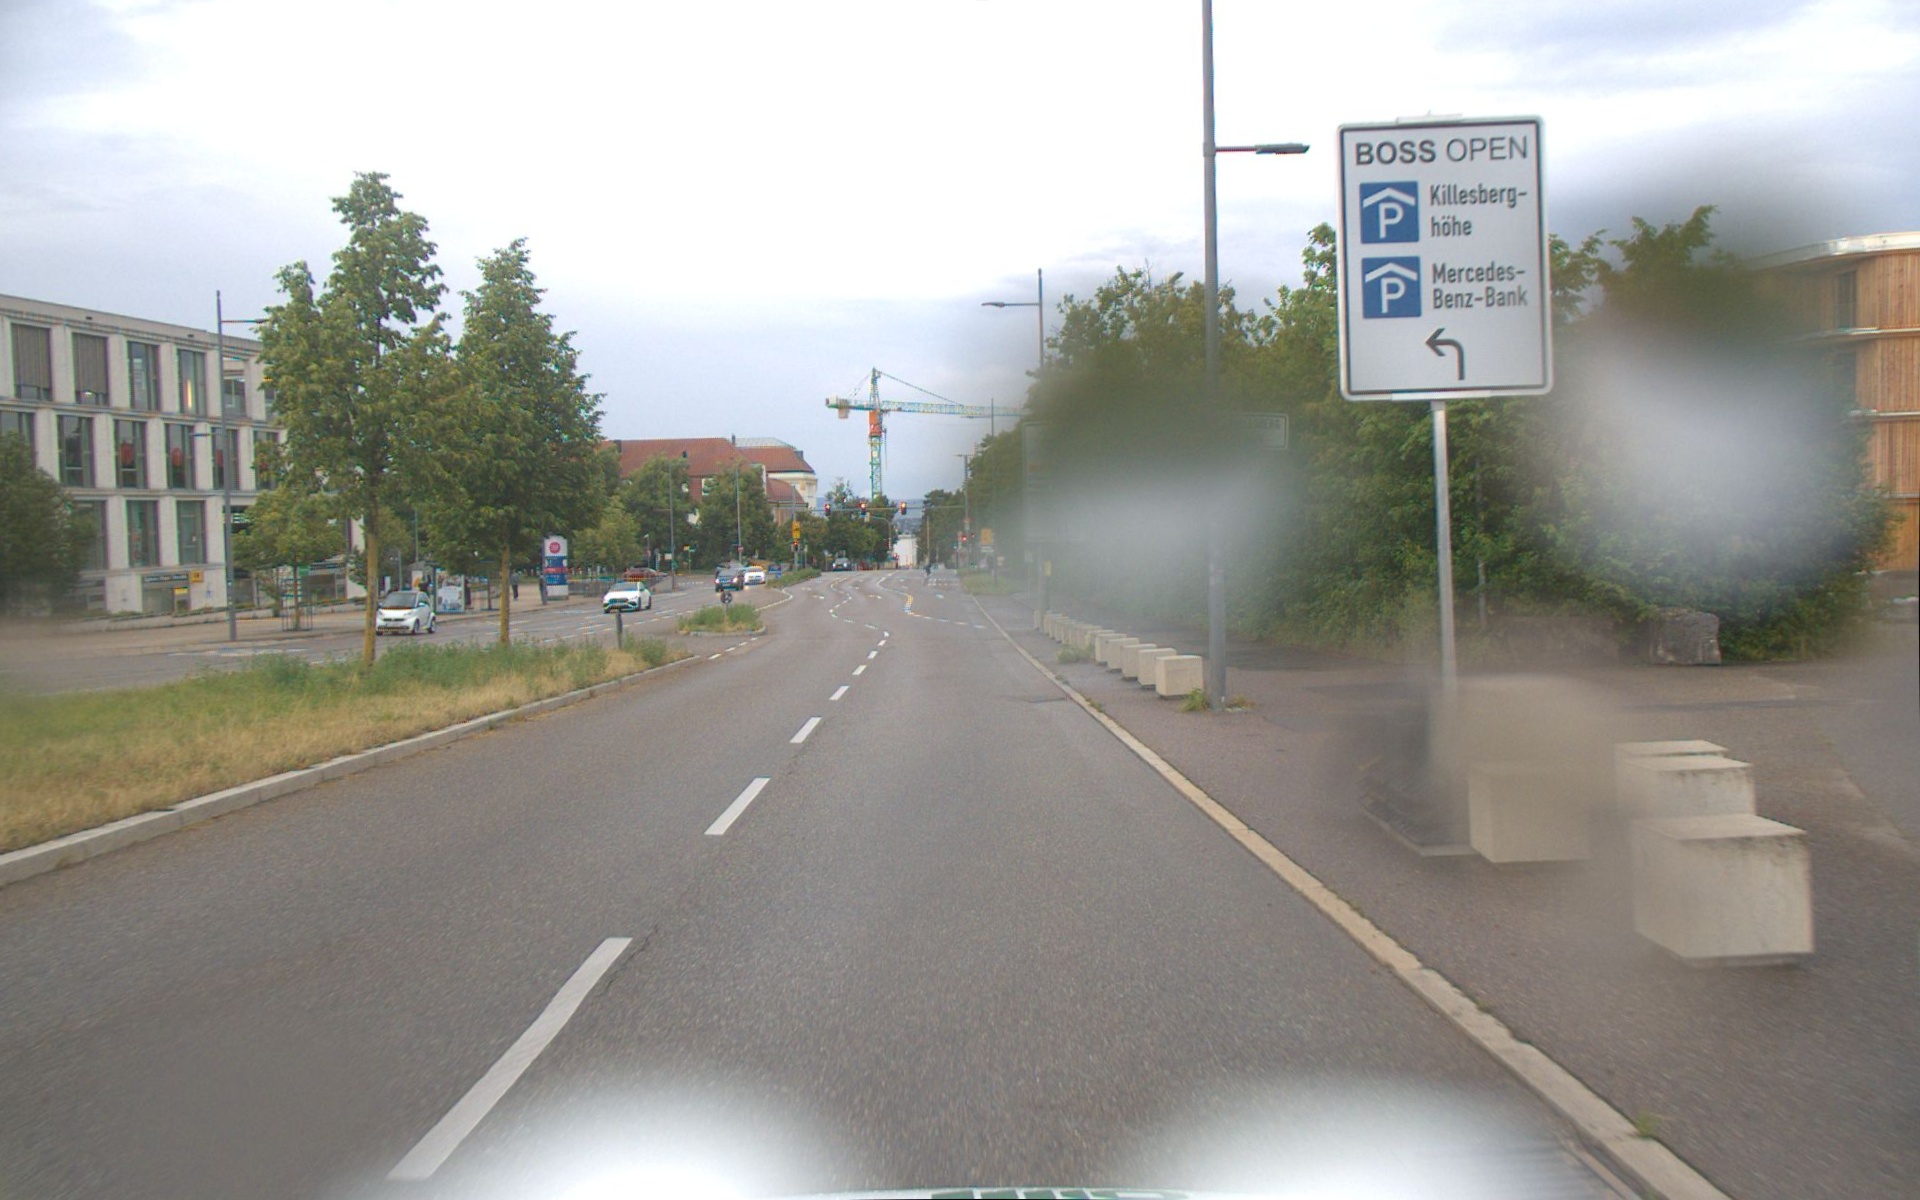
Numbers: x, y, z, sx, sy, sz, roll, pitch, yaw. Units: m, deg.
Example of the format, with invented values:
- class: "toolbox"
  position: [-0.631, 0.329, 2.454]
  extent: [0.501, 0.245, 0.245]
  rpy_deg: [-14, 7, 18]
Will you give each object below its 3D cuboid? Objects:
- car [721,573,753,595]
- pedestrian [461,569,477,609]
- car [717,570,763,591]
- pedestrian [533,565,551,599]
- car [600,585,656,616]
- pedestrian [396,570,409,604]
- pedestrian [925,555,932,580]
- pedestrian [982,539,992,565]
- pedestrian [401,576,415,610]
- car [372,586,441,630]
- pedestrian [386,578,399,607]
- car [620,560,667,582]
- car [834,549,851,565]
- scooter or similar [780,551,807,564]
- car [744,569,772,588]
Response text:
- class: "car"
  position: [-15.928, -1.145, 118.266]
  extent: [1.809, 1.487, 3.867]
  rpy_deg: [-3, 1, -1]
- class: "pedestrian"
  position: [-23.493, -0.514, 79.205]
  extent: [0.497, 1.874, 0.755]
  rpy_deg: [-1, 1, -2]
- class: "car"
  position: [-20.321, -1.766, 152.660]
  extent: [3.920, 1.911, 1.992]
  rpy_deg: [0, 0, 36]
- class: "pedestrian"
  position: [-23.428, -1.006, 92.752]
  extent: [0.737, 1.874, 0.747]
  rpy_deg: [-1, 1, 1]
- class: "car"
  position: [-16.768, 0.024, 83.664]
  extent: [1.953, 1.443, 4.512]
  rpy_deg: [-1, 1, -1]
- class: "pedestrian"
  position: [-29.278, -0.706, 86.807]
  extent: [0.417, 1.755, 0.621]
  rpy_deg: [-1, 1, -1]
- class: "pedestrian"
  position: [-2.693, -2.739, 140.116]
  extent: [0.392, 2.048, 0.514]
  rpy_deg: [-4, 2, 5]
- class: "pedestrian"
  position: [2.051, -3.710, 127.274]
  extent: [0.628, 1.933, 0.717]
  rpy_deg: [-2, 2, -6]
- class: "pedestrian"
  position: [-28.356, -0.356, 84.966]
  extent: [0.514, 1.755, 0.566]
  rpy_deg: [-1, 1, 1]
- class: "car"
  position: [-20.352, 0.274, 60.922]
  extent: [1.581, 1.534, 2.972]
  rpy_deg: [0, 1, -1]
- class: "pedestrian"
  position: [-29.432, -0.375, 85.794]
  extent: [0.417, 1.476, 0.510]
  rpy_deg: [-1, 1, -1]
- class: "car"
  position: [-30.279, -2.803, 158.244]
  extent: [3.905, 1.950, 2.000]
  rpy_deg: [-1, 1, 22]
- class: "car"
  position: [-14.009, -5.107, 197.415]
  extent: [1.953, 1.870, 3.998]
  rpy_deg: [0, 0, -2]
- class: "scooter or similar"
  position: [-20.112, -5.156, 199.854]
  extent: [3.026, 1.465, 0.948]
  rpy_deg: [-2, 2, -3]
- class: "car"
  position: [-16.881, -1.824, 138.486]
  extent: [1.835, 1.454, 4.175]
  rpy_deg: [-4, 1, -1]
